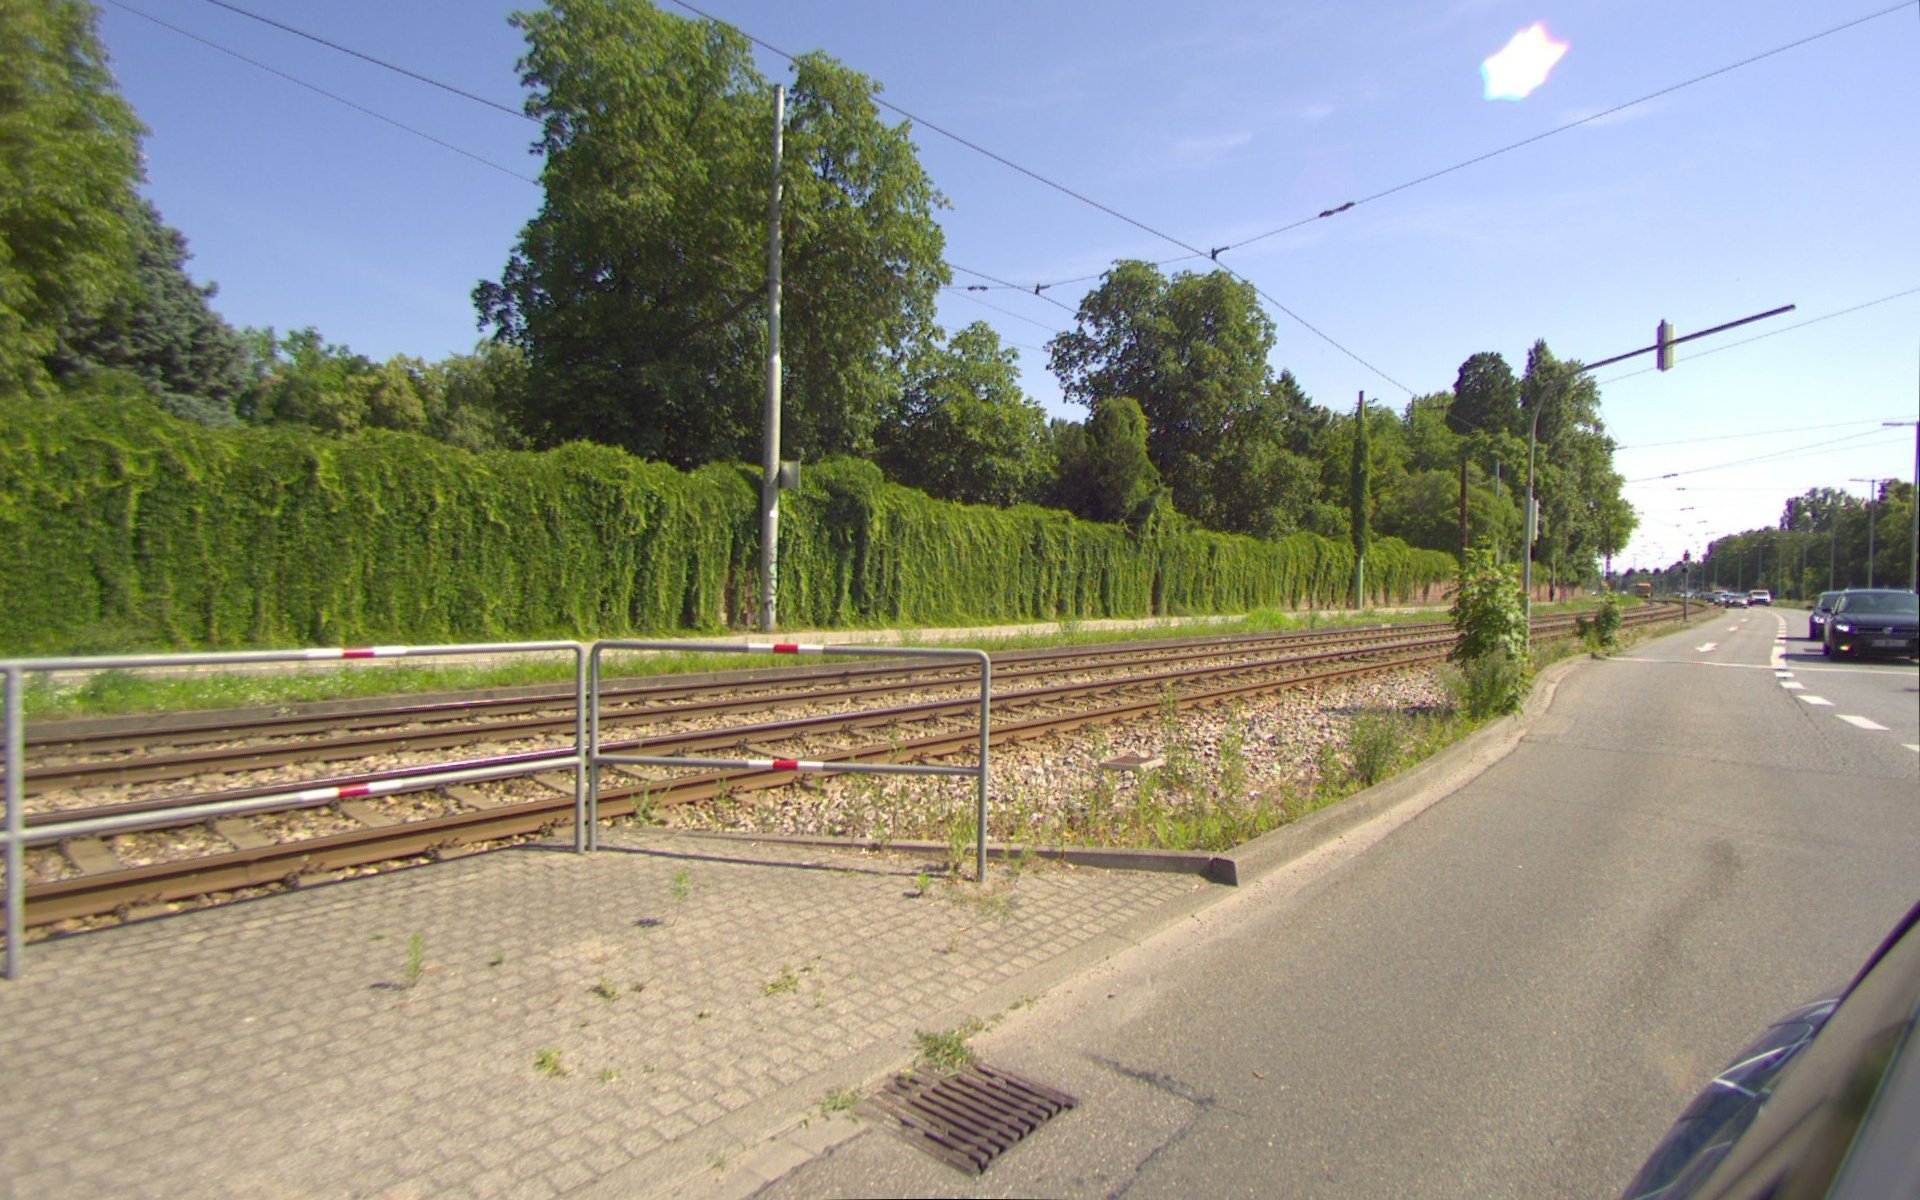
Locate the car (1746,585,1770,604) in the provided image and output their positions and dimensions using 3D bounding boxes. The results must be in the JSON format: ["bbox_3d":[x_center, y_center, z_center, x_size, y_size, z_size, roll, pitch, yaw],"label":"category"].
[{"bbox_3d":[100.148,-0.731,127.051,2.254,2.379,5.159,1,1,38],"label":"car"}]

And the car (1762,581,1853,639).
[{"bbox_3d":[26.127,0.259,31.339,1.745,1.602,4.448,2,2,35],"label":"car"}]

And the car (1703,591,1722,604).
[{"bbox_3d":[96.598,-0.305,129.895,1.921,1.622,4.409,1,1,37],"label":"car"}]

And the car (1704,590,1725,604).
[{"bbox_3d":[88.657,-0.357,118.967,1.921,1.622,4.409,1,1,37],"label":"car"}]

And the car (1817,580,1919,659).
[{"bbox_3d":[20.883,0.391,22.957,1.745,1.602,4.448,2,2,35],"label":"car"}]

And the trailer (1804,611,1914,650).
[{"bbox_3d":[23.021,0.747,26.018,1.745,0.828,3.031,2,2,35],"label":"trailer"}]

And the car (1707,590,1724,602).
[{"bbox_3d":[107.268,-0.592,143.656,1.921,1.622,4.409,1,1,37],"label":"car"}]

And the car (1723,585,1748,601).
[{"bbox_3d":[80.260,-0.750,104.799,1.920,1.622,4.410,1,1,36],"label":"car"}]
